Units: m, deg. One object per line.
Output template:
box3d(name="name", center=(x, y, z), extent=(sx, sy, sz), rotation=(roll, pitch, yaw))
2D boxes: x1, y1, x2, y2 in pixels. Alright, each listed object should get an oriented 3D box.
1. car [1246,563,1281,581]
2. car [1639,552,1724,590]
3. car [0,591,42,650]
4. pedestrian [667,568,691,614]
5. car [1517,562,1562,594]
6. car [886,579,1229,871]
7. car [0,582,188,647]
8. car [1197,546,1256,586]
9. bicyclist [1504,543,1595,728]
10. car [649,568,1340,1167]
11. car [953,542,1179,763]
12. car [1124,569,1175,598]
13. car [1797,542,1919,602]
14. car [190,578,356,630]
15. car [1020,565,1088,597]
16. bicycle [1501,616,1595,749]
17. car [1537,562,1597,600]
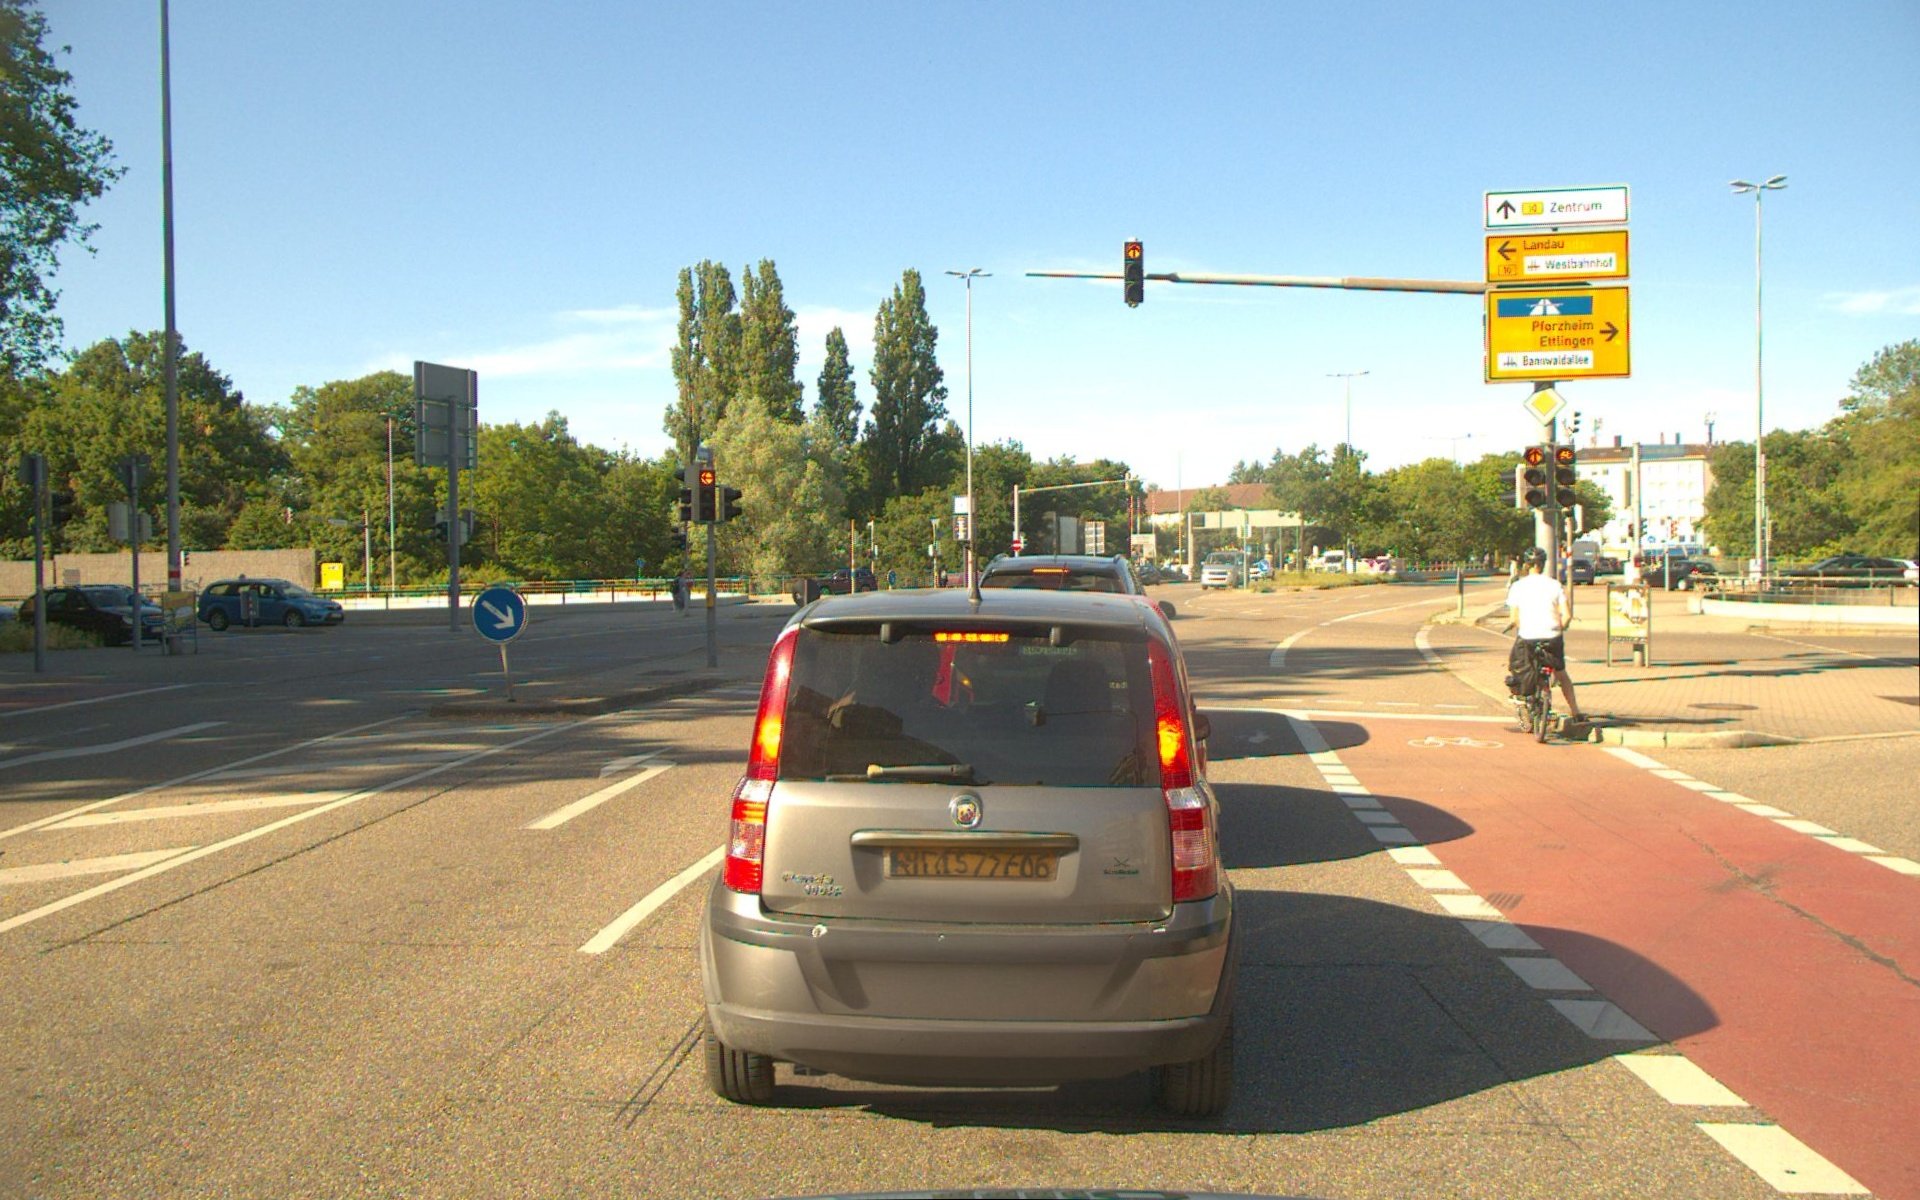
box3d(name="car", center=(28.199, -2.598, 153.550), extent=(1.973, 1.572, 4.883), rotation=(0, 1, 25))
box3d(name="car", center=(33.774, -1.372, 77.501), extent=(1.955, 1.690, 3.996), rotation=(-1, 2, -6))
box3d(name="car", center=(-26.412, 0.561, 43.272), extent=(4.345, 1.464, 1.826), rotation=(-1, 1, 22))
box3d(name="pedestrian", center=(-10.167, -0.324, 59.954), extent=(0.673, 1.565, 1.365), rotation=(0, -4, -3))
box3d(name="car", center=(34.654, -1.303, 99.001), extent=(1.951, 1.781, 4.003), rotation=(0, -1, 11))
box3d(name="car", center=(0.584, 0.641, 10.725), extent=(1.782, 1.505, 4.001), rotation=(1, 0, 2))
box3d(name="car", center=(-21.017, 0.352, 39.925), extent=(4.345, 1.464, 1.826), rotation=(-1, 1, 22))
box3d(name="car", center=(14.031, -1.763, 86.905), extent=(1.972, 1.887, 4.884), rotation=(0, -2, 23))
box3d(name="bicyclist", center=(5.760, 0.327, 16.155), extent=(0.783, 1.735, 1.085), rotation=(1, 0, 20))
box3d(name="car", center=(0.183, 0.672, 6.362), extent=(1.782, 1.515, 4.002), rotation=(2, 1, 3))
box3d(name="car", center=(1.172, 0.393, 16.113), extent=(1.829, 1.821, 4.418), rotation=(1, 1, 8))
box3d(name="car", center=(13.541, -1.151, 118.192), extent=(1.974, 1.887, 4.878), rotation=(-1, -2, 28))
box3d(name="car", center=(33.200, -0.998, 60.945), extent=(3.922, 2.049, 1.991), rotation=(-1, -2, 38))
box3d(name="car", center=(-20.704, 0.109, 49.882), extent=(4.341, 1.464, 1.828), rotation=(-1, 1, 13))
box3d(name="car", center=(6.106, -1.193, 106.460), extent=(1.980, 1.887, 4.864), rotation=(-1, -2, 38))
box3d(name="bicycle", center=(5.712, 0.749, 16.043), extent=(0.783, 1.130, 2.402), rotation=(1, 1, 20))
box3d(name="car", center=(33.183, -1.032, 90.571), extent=(1.970, 1.887, 4.889), rotation=(0, -1, 7))
